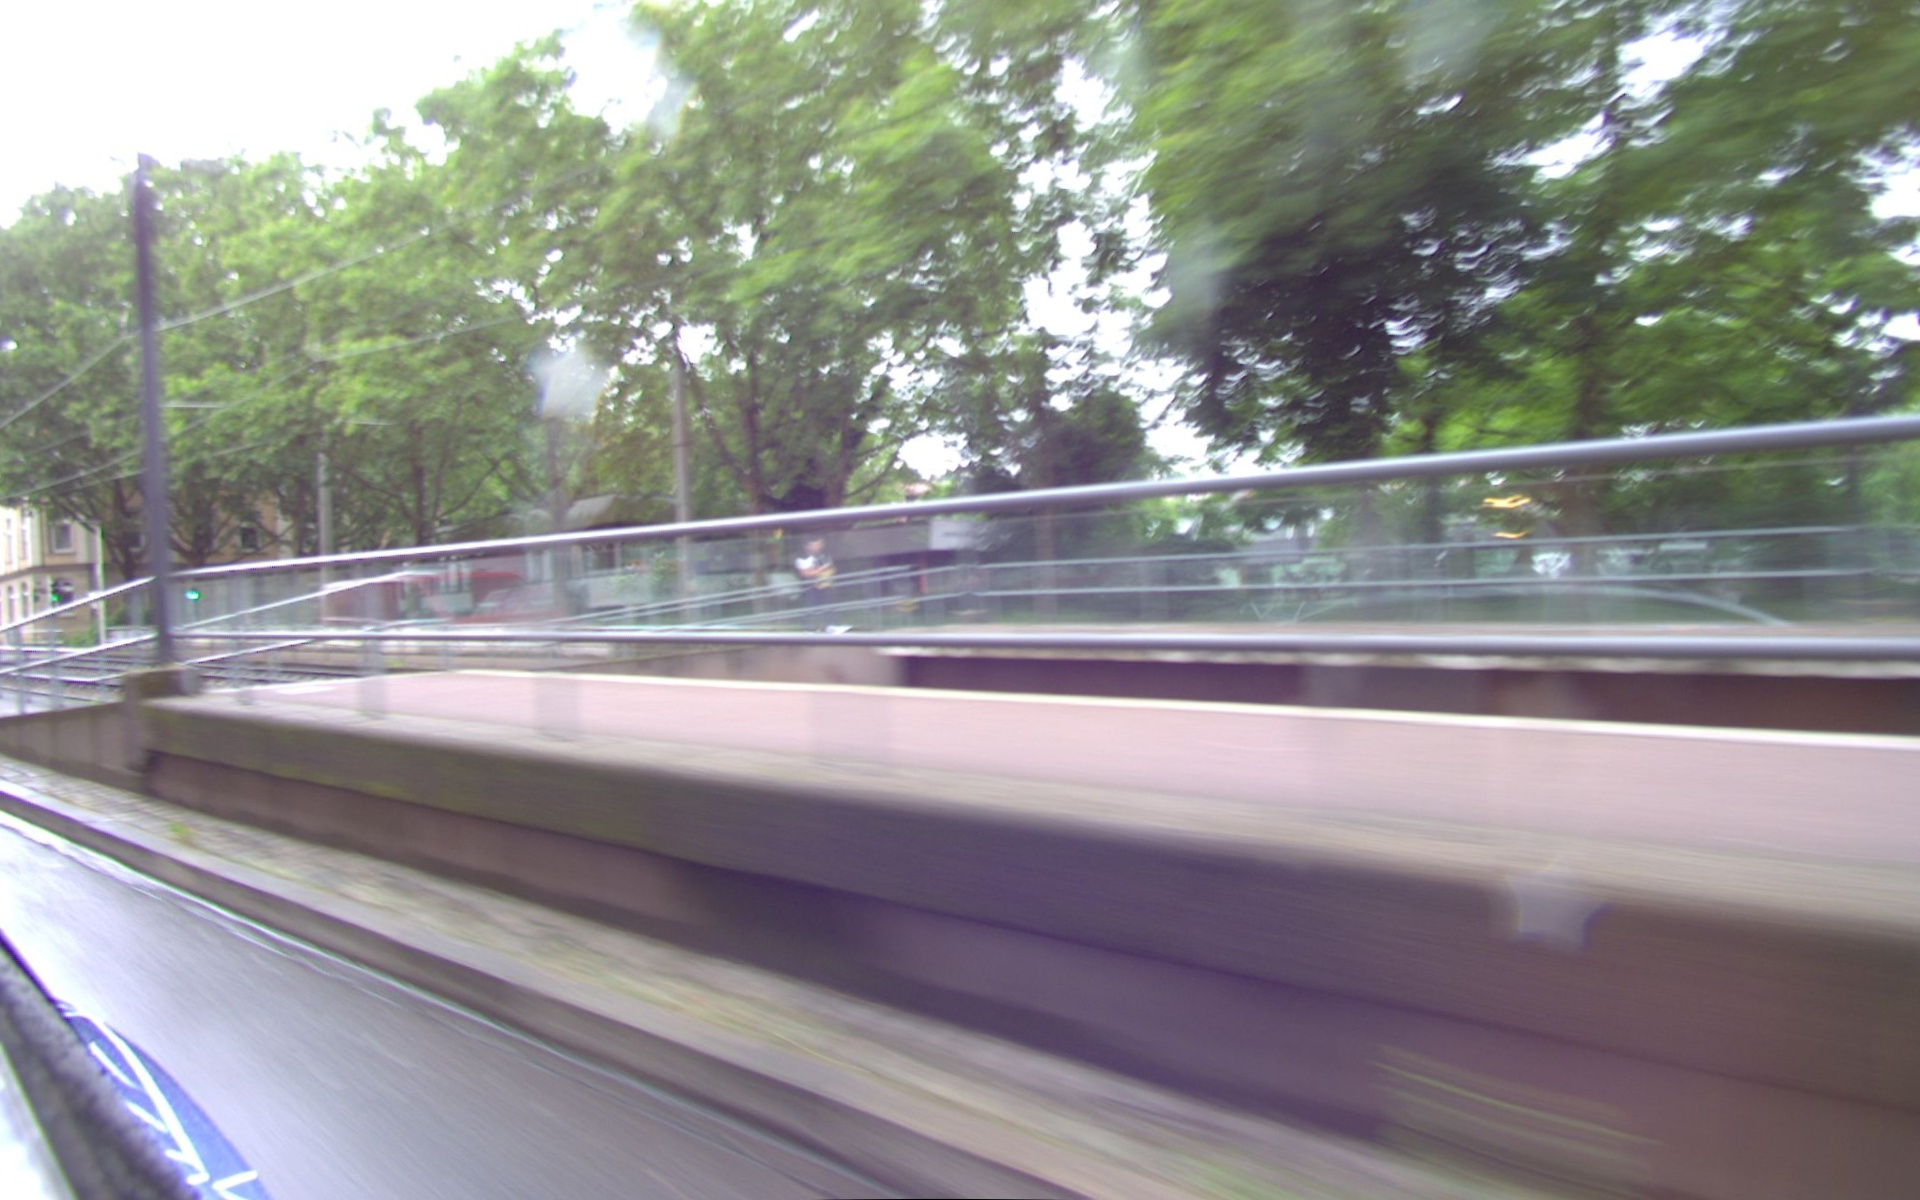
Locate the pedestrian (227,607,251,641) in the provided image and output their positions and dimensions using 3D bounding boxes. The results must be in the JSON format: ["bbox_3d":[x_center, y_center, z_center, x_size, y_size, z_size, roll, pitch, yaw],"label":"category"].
[{"bbox_3d":[-39.437,1.285,55.367,0.871,1.812,0.850,-2,0,42],"label":"pedestrian"}]

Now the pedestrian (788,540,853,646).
[{"bbox_3d":[-2.310,-0.113,16.737,0.686,1.675,0.652,-6,-2,35],"label":"pedestrian"}]

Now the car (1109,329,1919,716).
[{"bbox_3d":[2.720,-0.258,5.275,3.458,1.401,1.676,-2,0,37],"label":"car"}]
